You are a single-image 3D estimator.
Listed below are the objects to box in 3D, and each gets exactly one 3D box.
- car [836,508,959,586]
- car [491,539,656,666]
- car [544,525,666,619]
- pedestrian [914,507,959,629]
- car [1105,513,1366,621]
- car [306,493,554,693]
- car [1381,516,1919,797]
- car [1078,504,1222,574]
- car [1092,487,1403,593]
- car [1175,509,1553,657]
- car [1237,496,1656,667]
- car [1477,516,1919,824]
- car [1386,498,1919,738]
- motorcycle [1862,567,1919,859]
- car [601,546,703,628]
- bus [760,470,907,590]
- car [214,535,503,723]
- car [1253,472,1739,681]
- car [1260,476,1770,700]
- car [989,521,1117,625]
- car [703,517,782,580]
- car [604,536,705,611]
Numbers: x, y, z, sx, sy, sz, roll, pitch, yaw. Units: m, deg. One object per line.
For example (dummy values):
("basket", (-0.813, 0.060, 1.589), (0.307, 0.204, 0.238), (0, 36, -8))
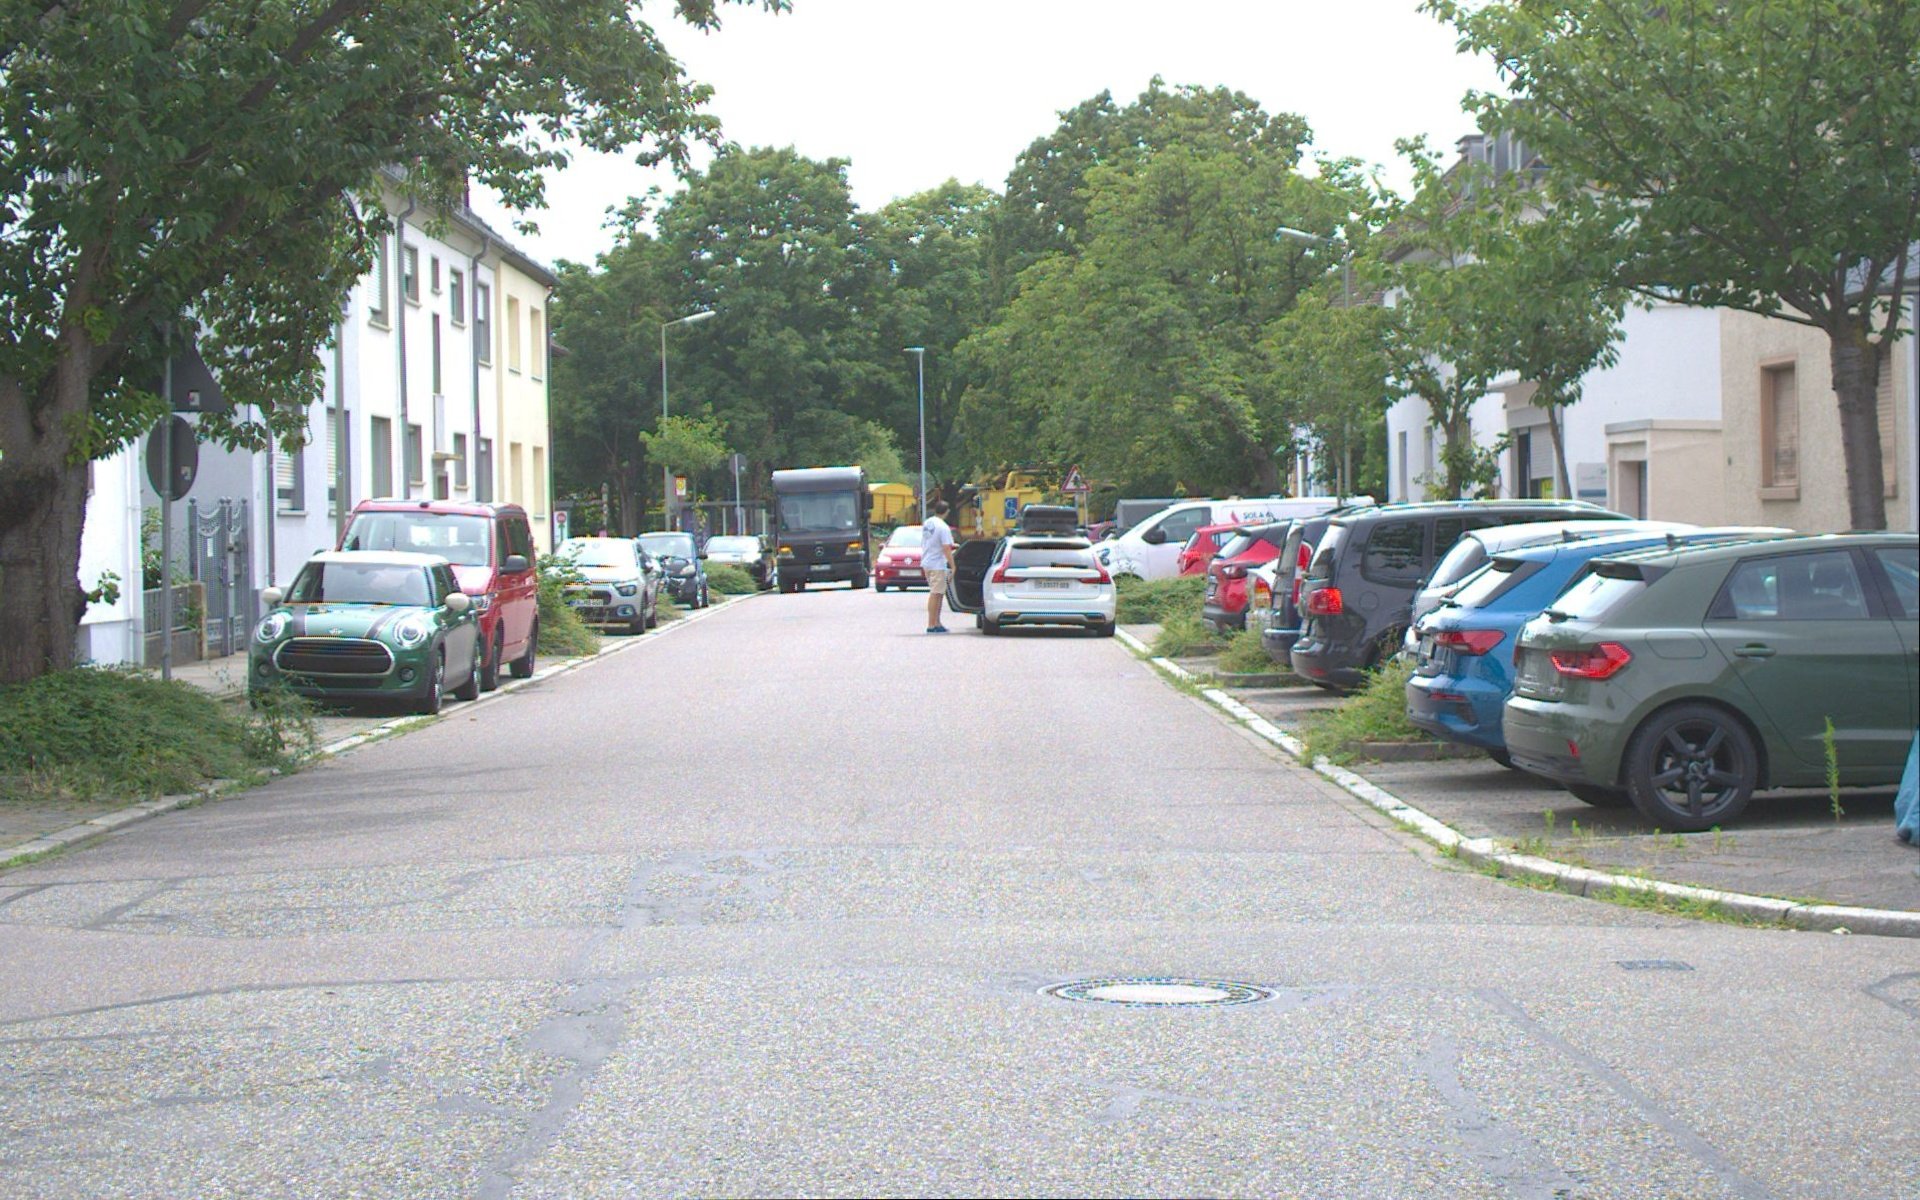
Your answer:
("car", (-1.364, -1.205, 76.978), (1.994, 1.612, 3.999), (-3, 1, 9))
("car", (-4.870, -0.004, 43.708), (1.651, 1.456, 3.552), (-3, 1, 0))
("car", (-5.675, -0.471, 55.245), (1.651, 1.372, 3.722), (-3, 1, -2))
("pedestrian", (-0.331, -0.454, 48.539), (0.522, 1.698, 0.444), (-3, 1, 4))
("car", (4.389, -0.537, 55.194), (3.987, 1.513, 1.723), (-3, 1, 0))
("car", (-5.663, -0.124, 37.266), (1.993, 2.007, 4.521), (-1, 1, 0))
("car", (4.313, 0.288, 19.859), (3.517, 1.407, 1.559), (-3, 1, 1))
("car", (4.814, -1.556, 87.328), (3.530, 1.597, 1.773), (-3, 1, 1))
("car", (4.778, -1.006, 57.568), (4.975, 1.513, 1.769), (-3, 1, -1))
("car", (4.486, -0.206, 38.573), (3.987, 1.434, 1.723), (-3, 1, 0))
("car", (4.938, -0.205, 35.231), (3.987, 1.513, 1.723), (-3, 1, 0))
("car", (4.621, 0.279, 17.276), (3.747, 1.361, 1.773), (-3, 1, 1))
("car", (5.255, 0.104, 25.184), (3.987, 1.513, 1.723), (-3, 1, 0))
("motorcycle", (5.096, 0.457, 14.730), (2.193, 1.206, 0.940), (-1, 1, -2))
("car", (-5.374, -0.256, 60.310), (1.538, 1.297, 3.722), (-3, 1, -2))
("bus", (-3.120, -1.787, 87.180), (3.004, 2.751, 8.924), (-3, 1, 2))
("car", (-5.534, 0.223, 32.056), (1.763, 1.548, 3.730), (-3, 1, 3))
("car", (4.704, -0.220, 30.596), (3.987, 1.612, 1.867), (-3, 1, 1))
("car", (4.373, -0.112, 27.514), (3.747, 1.559, 1.773), (-3, 1, 1))
("car", (1.321, -0.413, 49.213), (1.687, 1.349, 3.826), (-3, 1, 1))
("car", (-5.559, -1.339, 88.122), (1.621, 1.497, 4.000), (-3, 1, 1))
("car", (-6.097, -0.560, 68.868), (1.651, 1.372, 3.722), (-3, 1, 0))
